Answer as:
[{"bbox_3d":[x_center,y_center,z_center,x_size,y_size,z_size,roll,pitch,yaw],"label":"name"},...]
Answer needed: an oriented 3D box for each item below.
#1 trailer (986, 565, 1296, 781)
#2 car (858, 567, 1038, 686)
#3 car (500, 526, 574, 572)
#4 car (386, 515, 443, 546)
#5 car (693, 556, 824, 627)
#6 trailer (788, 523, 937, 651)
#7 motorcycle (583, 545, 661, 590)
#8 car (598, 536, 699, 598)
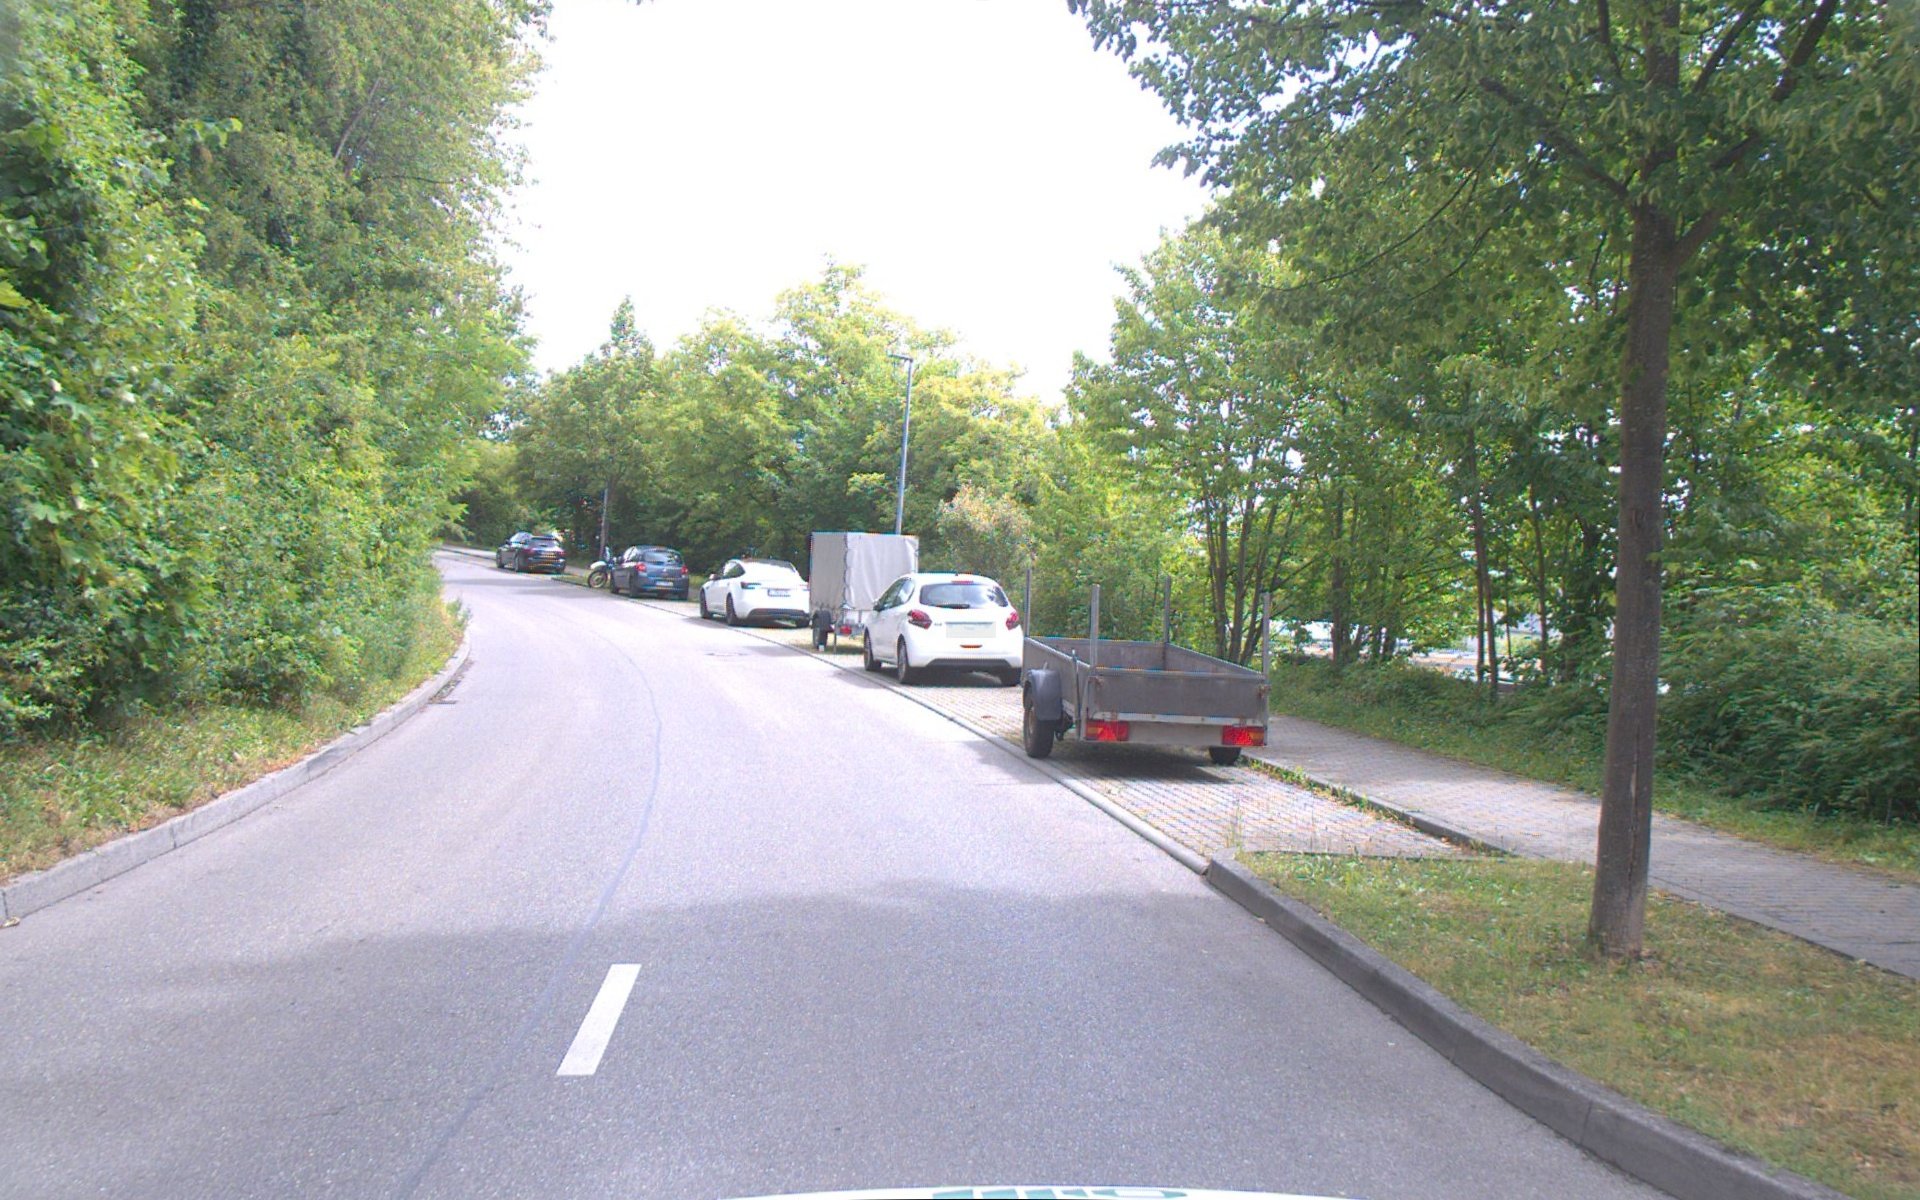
[{"bbox_3d":[1.424,0.527,14.609,1.751,1.552,3.993,2,1,-8],"label":"trailer"},{"bbox_3d":[-0.263,0.314,23.722,1.738,1.436,3.988,2,2,-13],"label":"car"},{"bbox_3d":[-16.025,-1.943,62.577,1.820,1.542,3.965,1,2,-28],"label":"car"},{"bbox_3d":[-26.208,-3.346,79.358,1.822,1.355,3.961,1,2,-30],"label":"car"},{"bbox_3d":[-4.663,-0.229,37.772,1.860,1.400,4.323,2,2,-22],"label":"car"},{"bbox_3d":[-1.846,-0.276,30.060,1.713,2.147,3.980,1,2,-18],"label":"trailer"},{"bbox_3d":[-10.664,-1.028,52.187,2.121,1.288,1.071,2,3,13],"label":"motorcycle"},{"bbox_3d":[-9.257,-1.026,48.926,1.863,1.716,4.316,-1,3,-26],"label":"car"}]
